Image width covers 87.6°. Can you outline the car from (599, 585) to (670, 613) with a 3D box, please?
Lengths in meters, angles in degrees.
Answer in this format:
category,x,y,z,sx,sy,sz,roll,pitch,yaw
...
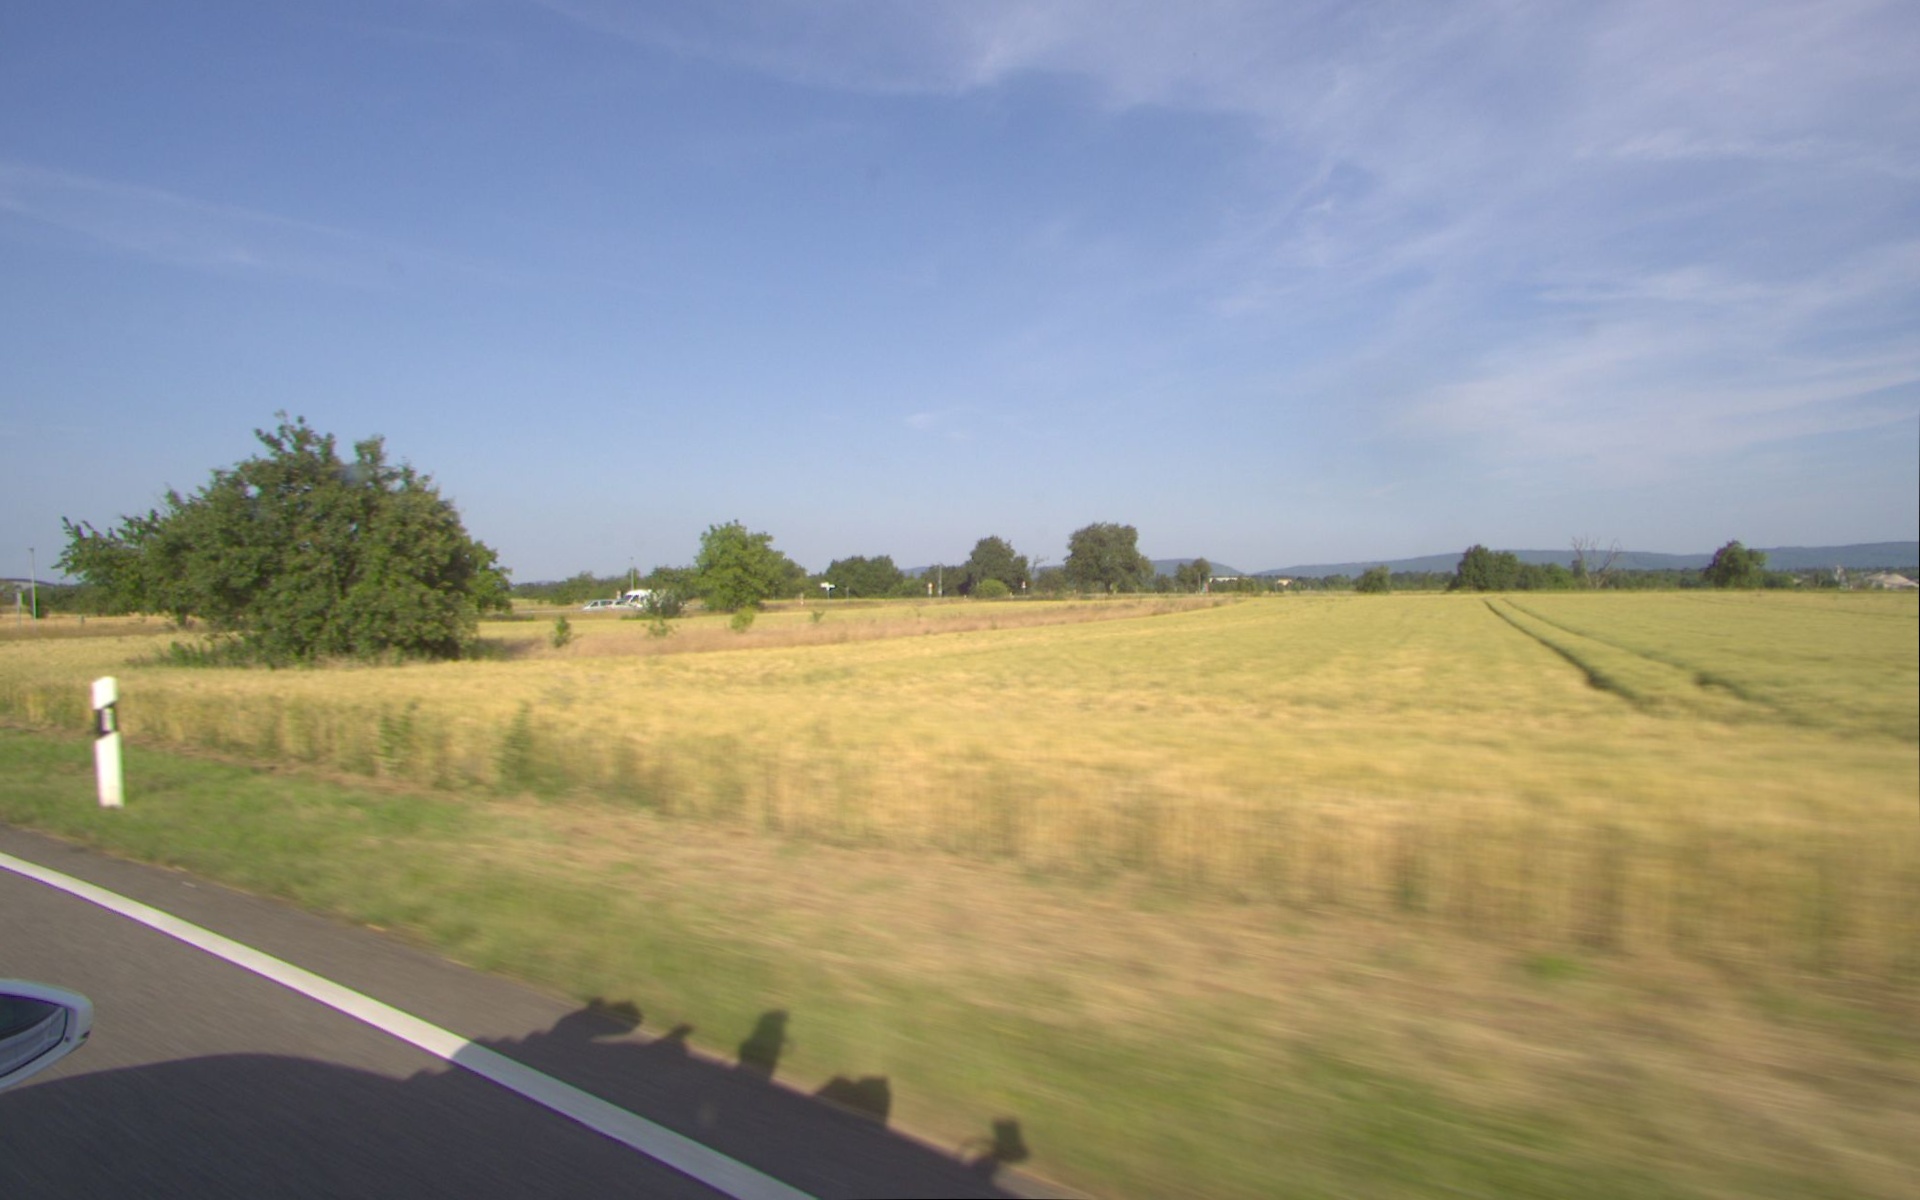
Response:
category,x,y,z,sx,sy,sz,roll,pitch,yaw
car,-34.339,-0.030,105.897,2.293,2.832,6.984,0,-1,41
